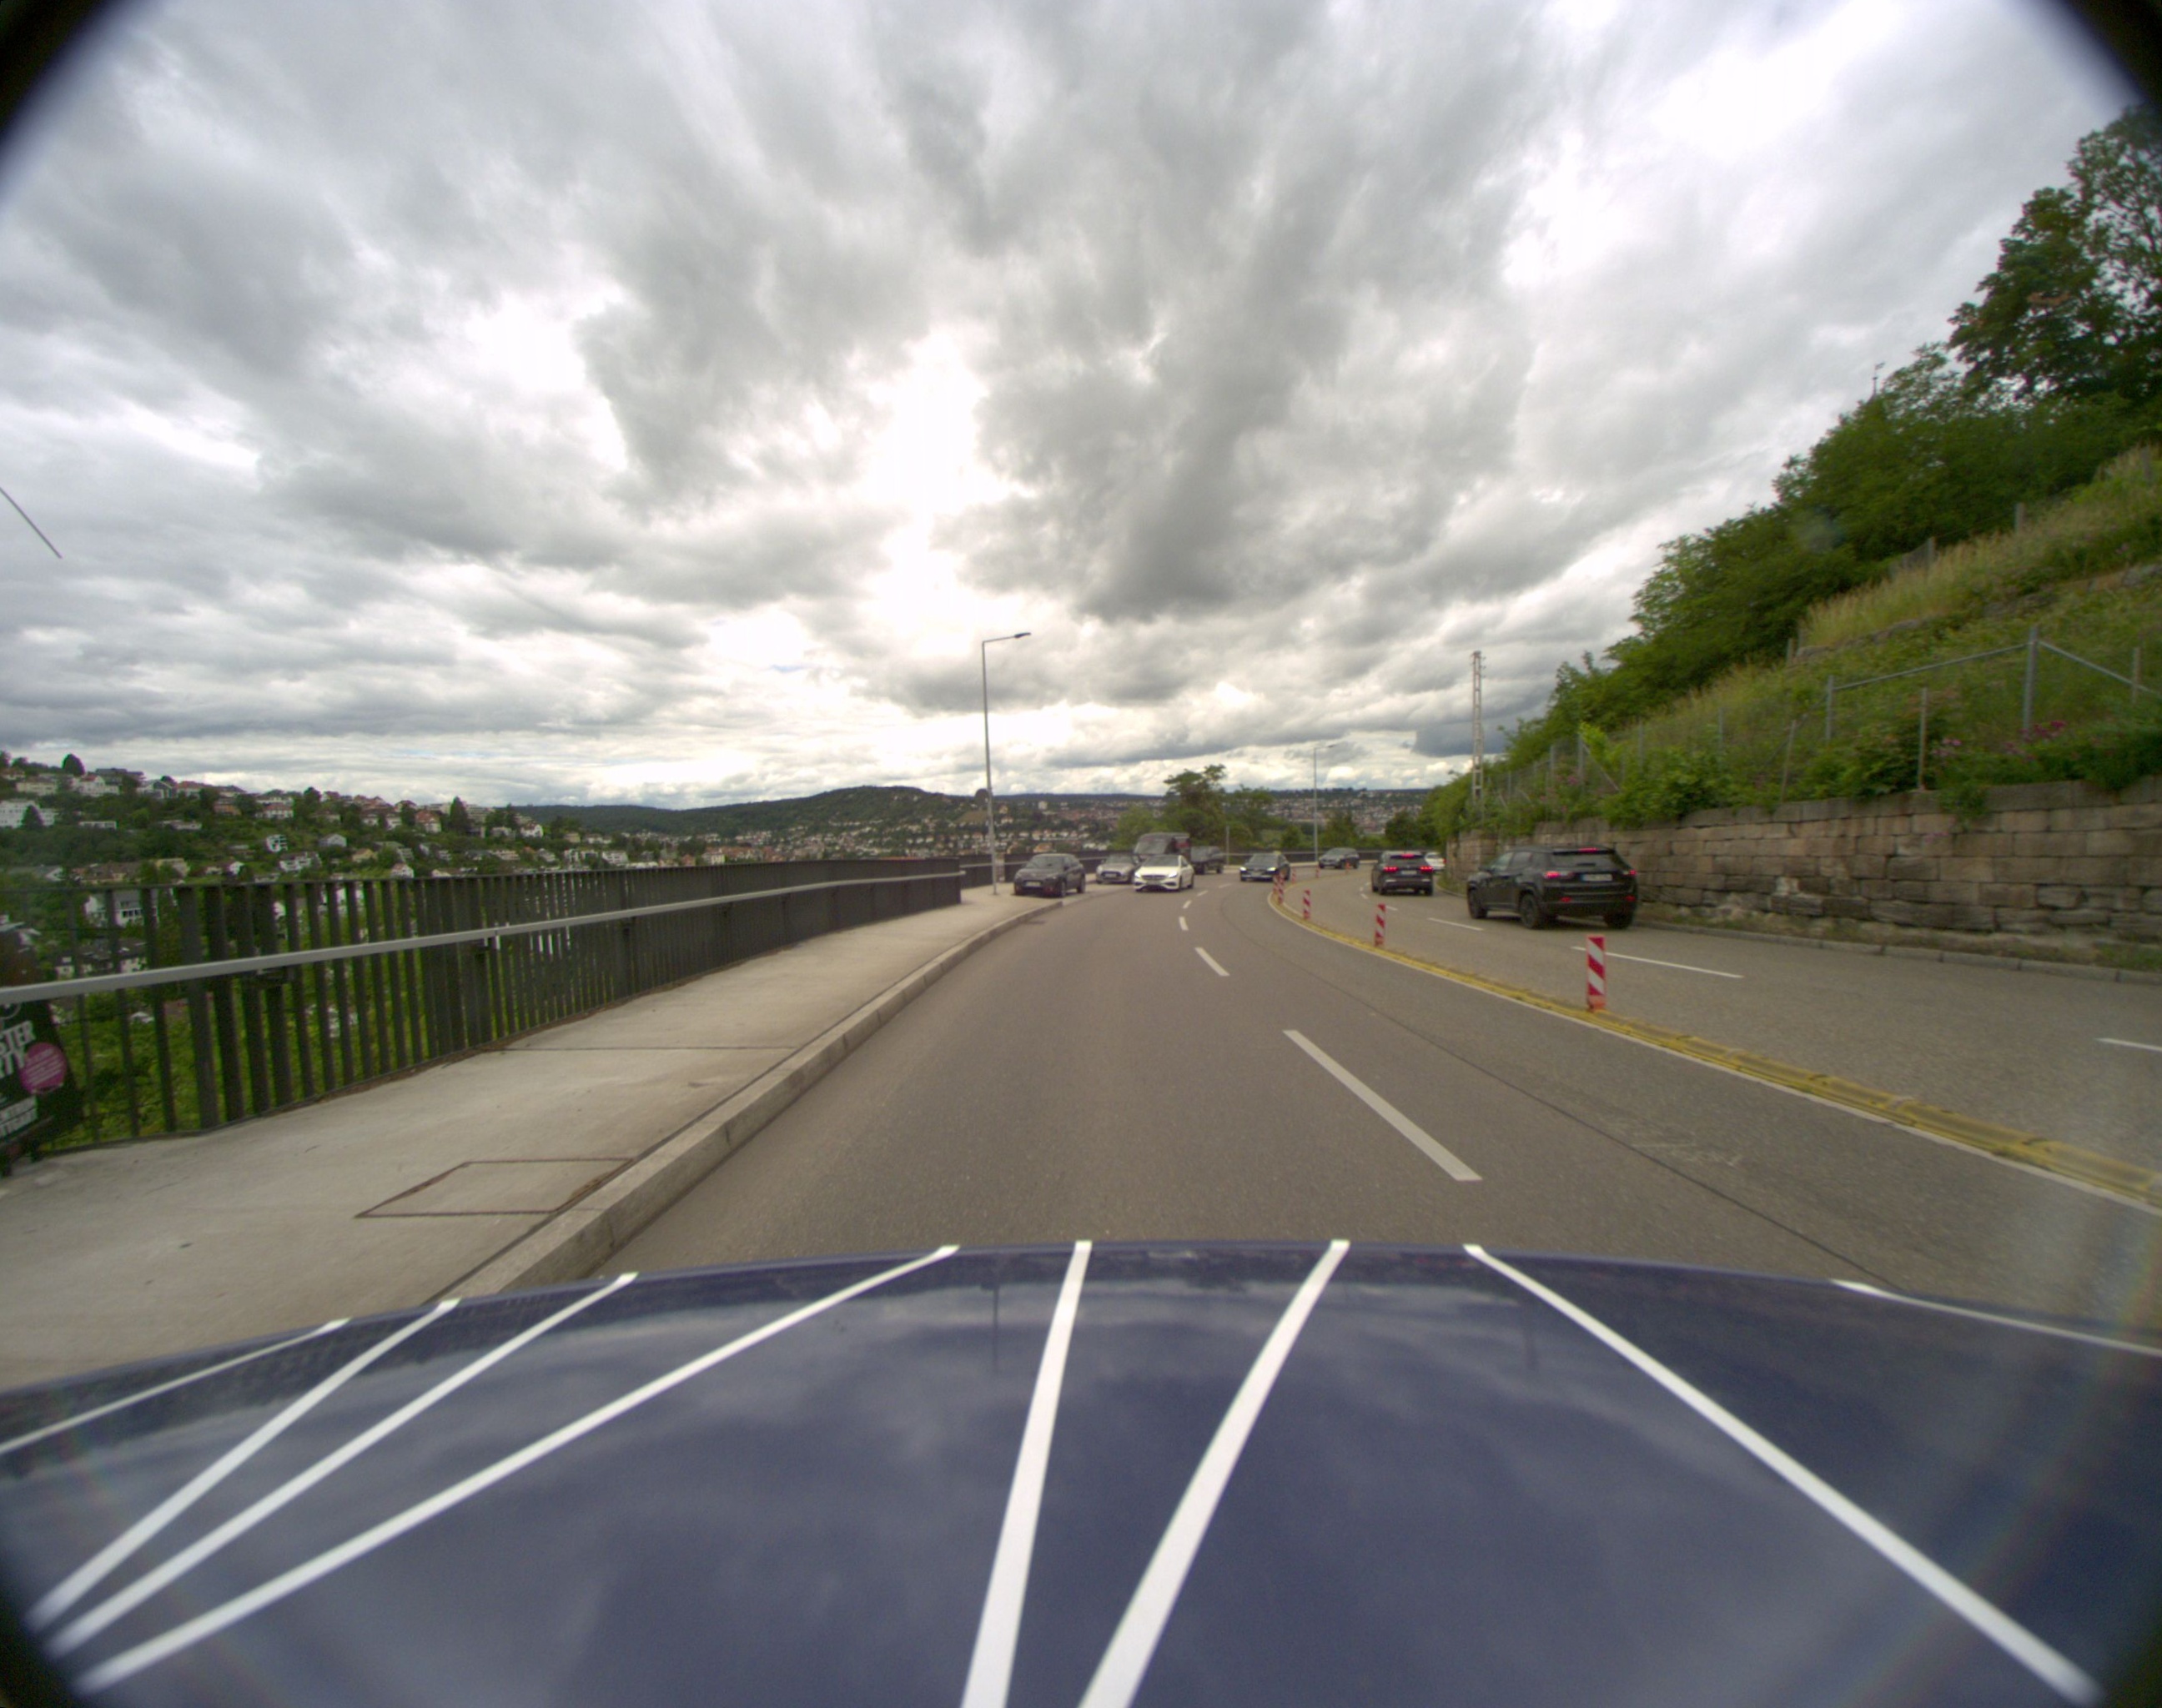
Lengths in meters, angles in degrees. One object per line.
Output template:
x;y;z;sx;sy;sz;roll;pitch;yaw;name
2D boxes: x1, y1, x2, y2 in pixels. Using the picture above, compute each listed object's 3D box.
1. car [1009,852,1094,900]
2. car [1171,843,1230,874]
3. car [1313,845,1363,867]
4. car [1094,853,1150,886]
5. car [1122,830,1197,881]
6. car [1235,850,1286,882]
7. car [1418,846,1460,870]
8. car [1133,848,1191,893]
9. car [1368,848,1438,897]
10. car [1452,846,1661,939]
-0.976;0.746;27.815;1.877;1.534;4.094;0;1;16;car
7.589;0.235;47.883;1.994;1.709;5.058;3;3;29;car
20.321;0.137;59.955;1.994;1.661;4.547;0;1;43;car
2.021;0.702;36.369;1.716;1.423;3.855;1;1;19;car
4.441;0.011;41.956;2.167;2.508;5.780;4;2;26;car
9.413;0.565;39.657;1.897;1.485;4.148;1;1;23;car
25.428;0.253;53.913;1.701;1.540;4.008;3;3;40;car
3.351;0.632;30.743;1.997;1.708;4.004;0;0;11;car
12.206;0.645;29.033;1.845;1.715;4.468;0;0;15;car
9.579;0.694;15.792;1.868;1.614;4.350;-2;0;5;car
